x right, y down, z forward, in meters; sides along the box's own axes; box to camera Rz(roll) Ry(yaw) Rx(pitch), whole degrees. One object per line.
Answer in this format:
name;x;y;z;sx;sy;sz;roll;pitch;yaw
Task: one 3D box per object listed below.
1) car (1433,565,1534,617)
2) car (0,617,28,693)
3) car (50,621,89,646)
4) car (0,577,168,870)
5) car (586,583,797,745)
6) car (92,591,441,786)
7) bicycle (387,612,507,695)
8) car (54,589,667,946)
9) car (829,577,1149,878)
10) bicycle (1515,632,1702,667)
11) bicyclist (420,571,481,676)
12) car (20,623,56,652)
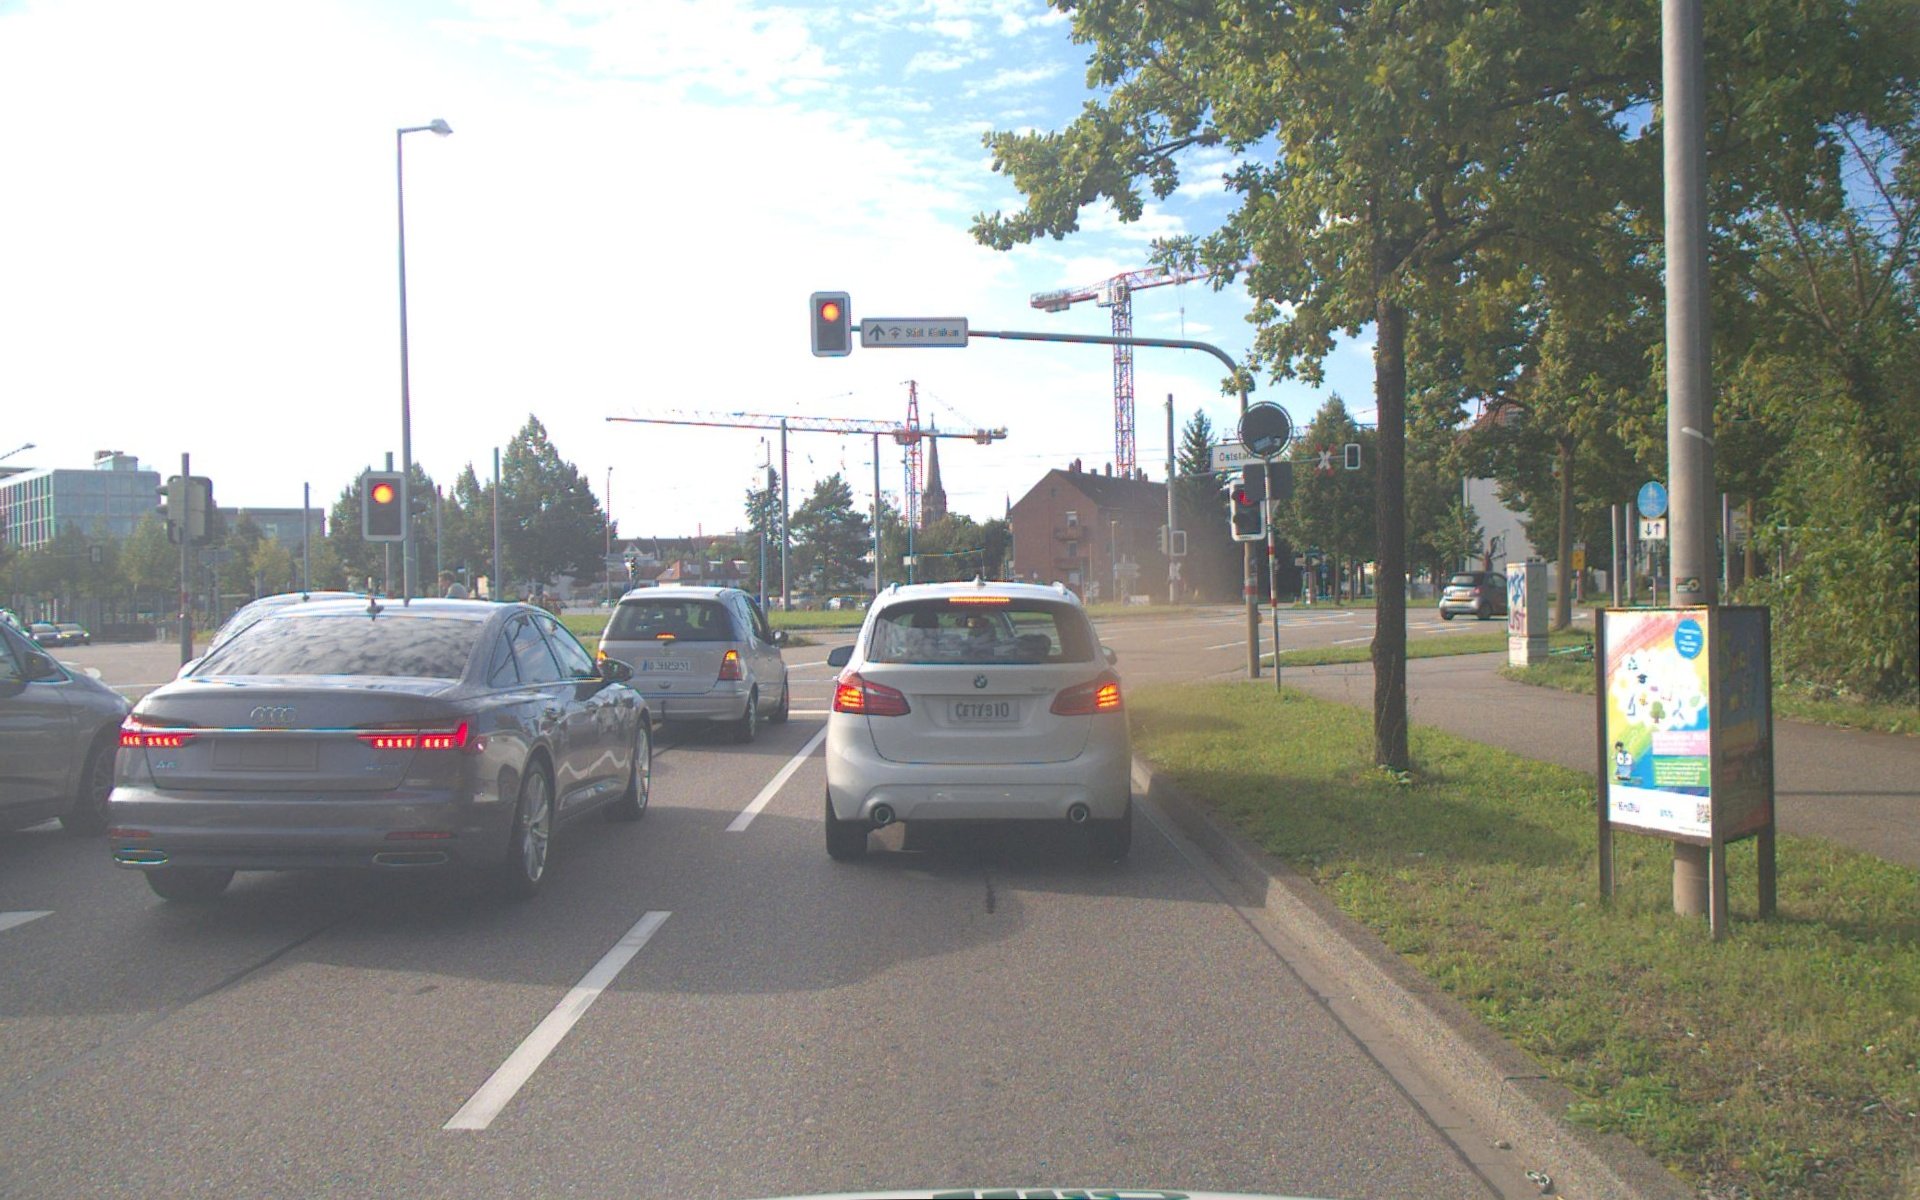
car;16.932;-0.304;53.481;3.163;1.601;1.555;-2;1;-36
car;-20.020;1.163;33.214;1.877;1.434;4.173;-4;0;-25
car;-57.732;2.166;107.220;1.604;1.490;3.680;-2;1;-38
car;-6.034;0.671;8.834;1.694;1.586;4.018;0;0;-1
car;-2.822;0.618;18.199;1.694;1.585;4.057;0;0;-1
car;-6.130;0.703;15.115;1.646;1.549;3.809;0;0;-1
bicycle;-7.782;0.798;25.155;1.698;1.184;0.653;-1;1;-17
car;-2.955;0.719;9.345;1.851;1.509;4.612;0;0;-1
car;0.122;0.664;10.773;1.694;1.585;4.057;0;0;-1
bicycle;9.445;0.709;24.256;1.382;0.392;2.569;-2;0;-12
bicyclist;-7.752;0.350;25.163;0.835;1.553;0.737;-2;0;-17
car;-51.633;2.132;92.684;1.574;1.439;3.636;-3;-1;-28
